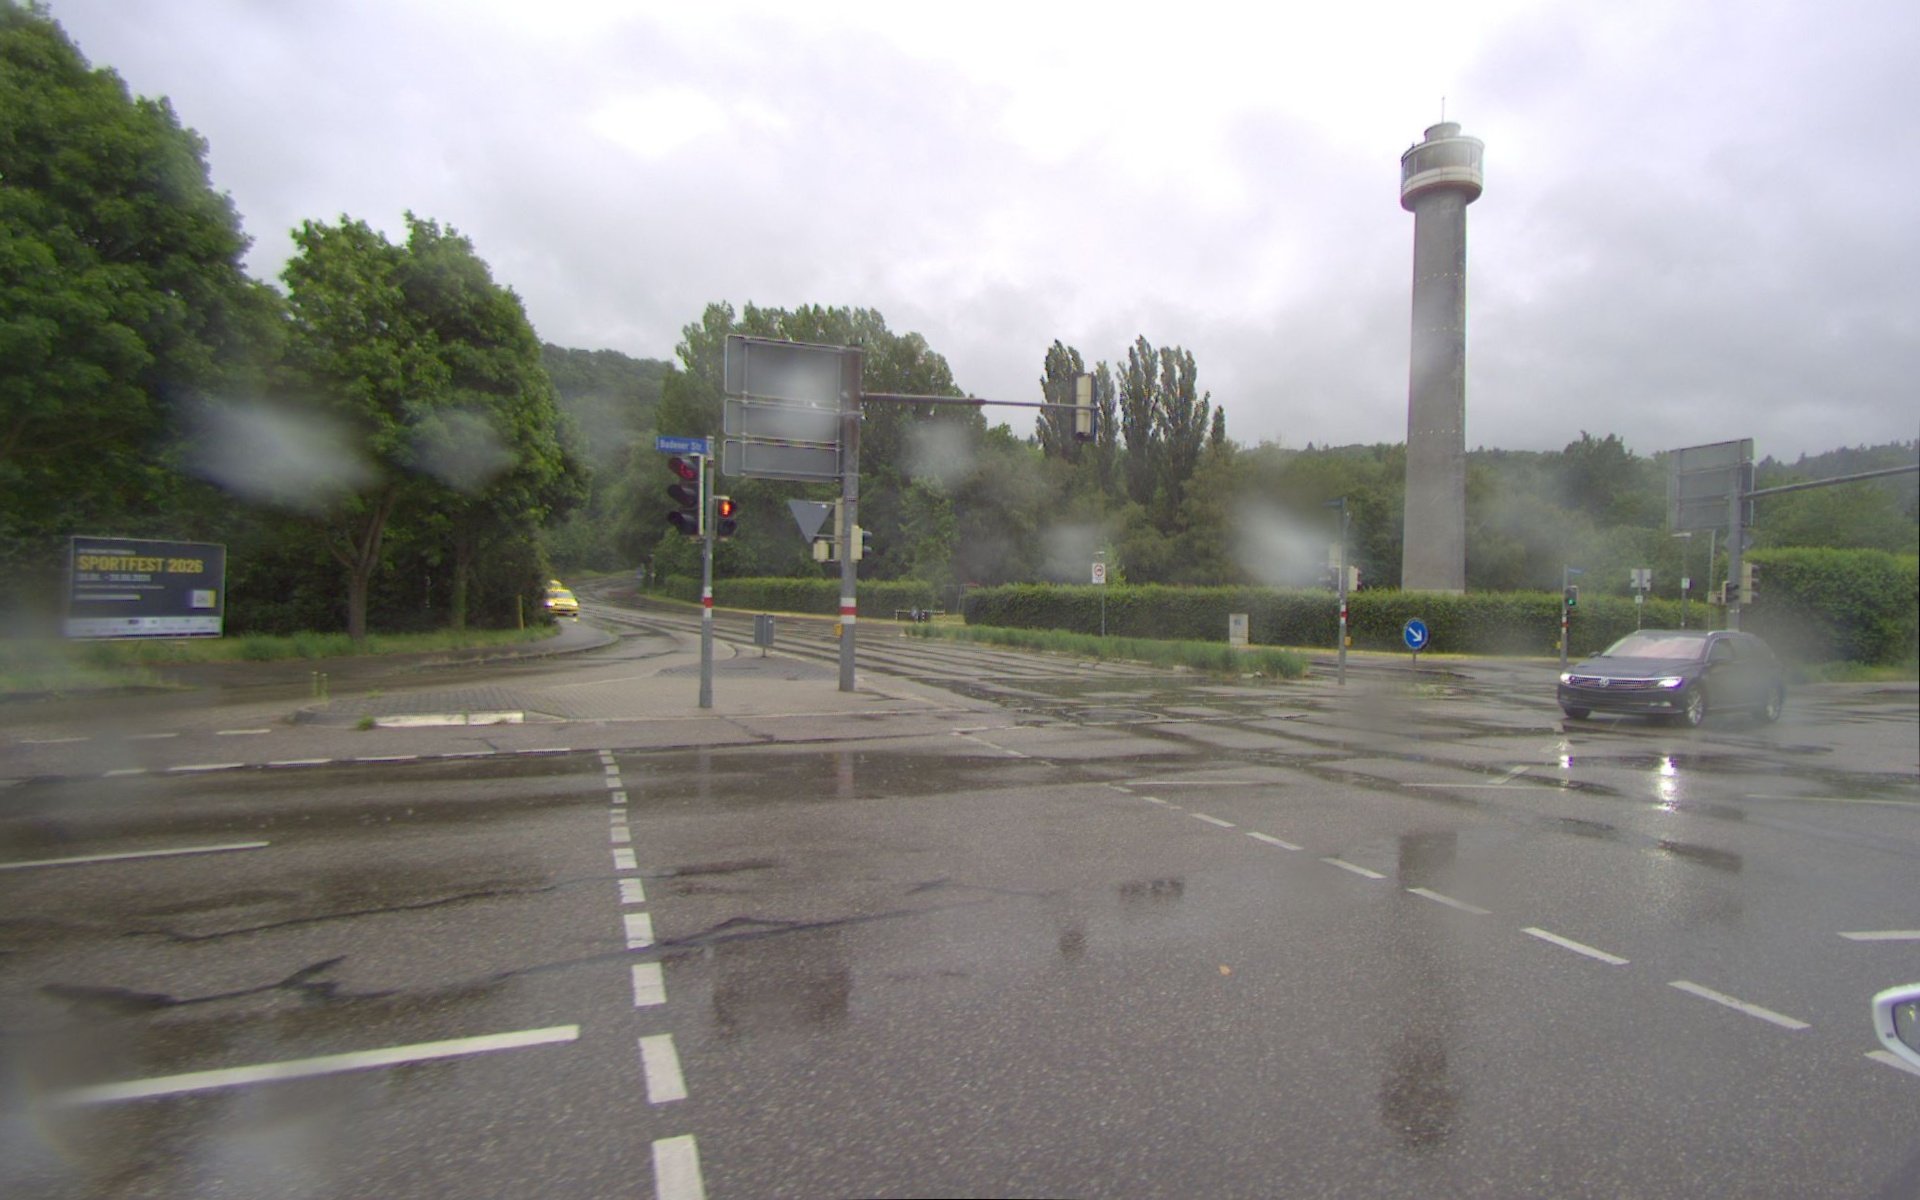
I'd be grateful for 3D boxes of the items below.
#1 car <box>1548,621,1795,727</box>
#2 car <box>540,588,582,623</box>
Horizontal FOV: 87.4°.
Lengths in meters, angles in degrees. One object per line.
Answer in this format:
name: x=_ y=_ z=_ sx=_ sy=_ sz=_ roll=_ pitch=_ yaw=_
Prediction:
car: x=11.571 y=1.127 z=16.252 sx=4.403 sy=1.485 sz=1.699 roll=2 pitch=0 yaw=-32
car: x=-24.792 y=0.316 z=62.393 sx=1.794 sy=2.054 sz=3.651 roll=1 pitch=1 yaw=-32
